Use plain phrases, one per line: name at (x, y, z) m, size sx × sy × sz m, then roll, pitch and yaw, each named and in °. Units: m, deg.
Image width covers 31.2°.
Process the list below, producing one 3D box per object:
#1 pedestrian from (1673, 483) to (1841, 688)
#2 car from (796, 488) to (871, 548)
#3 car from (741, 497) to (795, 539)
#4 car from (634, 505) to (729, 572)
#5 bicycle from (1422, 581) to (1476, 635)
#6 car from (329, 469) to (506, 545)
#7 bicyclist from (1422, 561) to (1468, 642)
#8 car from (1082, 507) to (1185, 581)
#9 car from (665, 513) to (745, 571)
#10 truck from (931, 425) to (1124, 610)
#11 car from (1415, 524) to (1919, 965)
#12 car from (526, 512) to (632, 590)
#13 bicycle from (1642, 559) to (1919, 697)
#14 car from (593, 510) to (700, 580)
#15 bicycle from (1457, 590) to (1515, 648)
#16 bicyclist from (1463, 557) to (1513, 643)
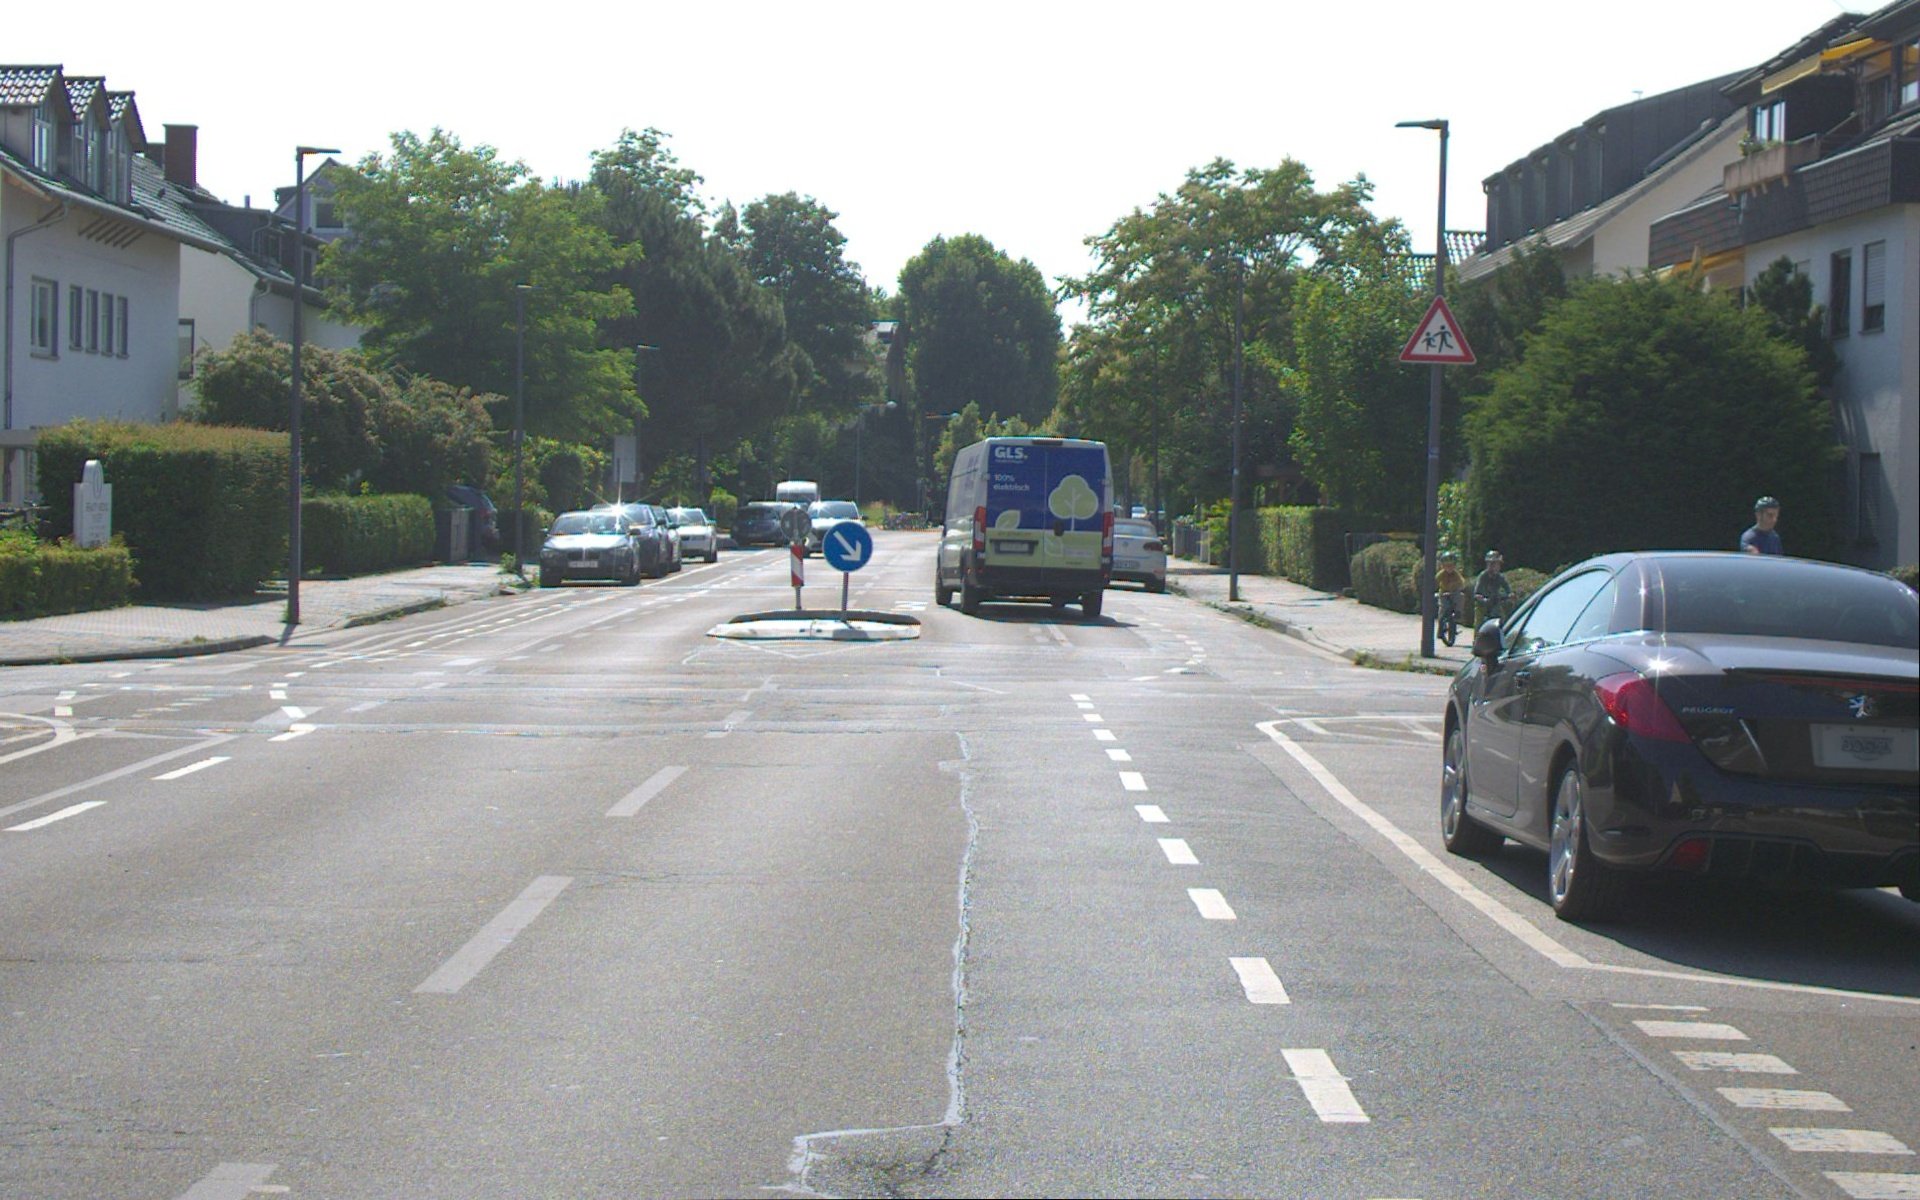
pedestrian at (7.437, -0.143, 32.109) m, size 0.898 × 1.866 × 1.189 m, roll 1°, pitch 1°, yaw -33°
car at (-3.590, -2.328, 98.460) m, size 1.915 × 1.661 × 4.506 m, roll 0°, pitch 1°, yaw 1°
car at (-6.872, -2.946, 123.177) m, size 1.781 × 1.455 × 4.086 m, roll 1°, pitch 2°, yaw -1°
car at (-6.399, -1.439, 79.406) m, size 1.785 × 1.435 × 4.000 m, roll 2°, pitch 1°, yaw 0°
bicycle at (5.721, 0.092, 40.233) m, size 0.401 × 0.597 × 1.151 m, roll 1°, pitch 1°, yaw -3°
car at (-13.344, -2.304, 84.700) m, size 3.987 × 1.753 × 2.000 m, roll 1°, pitch 2°, yaw 0°
bicyclist at (5.705, 0.016, 40.449) m, size 0.398 × 0.930 × 0.609 m, roll 1°, pitch 1°, yaw -3°
car at (3.454, -1.147, 68.963) m, size 1.740 × 1.397 × 4.074 m, roll 1°, pitch 2°, yaw -1°
car at (-6.578, -1.521, 89.139) m, size 1.785 × 1.435 × 4.000 m, roll 1°, pitch 2°, yaw 0°
truck at (0.935, -1.209, 50.716) m, size 2.272 × 2.562 × 4.393 m, roll 1°, pitch 1°, yaw -6°
car at (3.089, 0.474, 14.063) m, size 1.736 × 1.463 × 4.345 m, roll 3°, pitch 1°, yaw -1°
car at (-7.266, -0.966, 65.812) m, size 1.785 × 1.435 × 4.155 m, roll 0°, pitch 2°, yaw -3°
bicycle at (7.695, 0.242, 31.422) m, size 2.708 × 1.154 × 0.862 m, roll 2°, pitch 1°, yaw 32°
car at (-6.587, -1.184, 72.568) m, size 1.785 × 1.435 × 4.111 m, roll 0°, pitch 2°, yaw 2°
bicycle at (5.791, 0.209, 37.896) m, size 0.401 × 0.597 × 1.174 m, roll 1°, pitch 1°, yaw -2°
bicyclist at (5.814, -0.007, 37.906) m, size 0.401 × 0.926 × 0.658 m, roll 1°, pitch 1°, yaw -3°
